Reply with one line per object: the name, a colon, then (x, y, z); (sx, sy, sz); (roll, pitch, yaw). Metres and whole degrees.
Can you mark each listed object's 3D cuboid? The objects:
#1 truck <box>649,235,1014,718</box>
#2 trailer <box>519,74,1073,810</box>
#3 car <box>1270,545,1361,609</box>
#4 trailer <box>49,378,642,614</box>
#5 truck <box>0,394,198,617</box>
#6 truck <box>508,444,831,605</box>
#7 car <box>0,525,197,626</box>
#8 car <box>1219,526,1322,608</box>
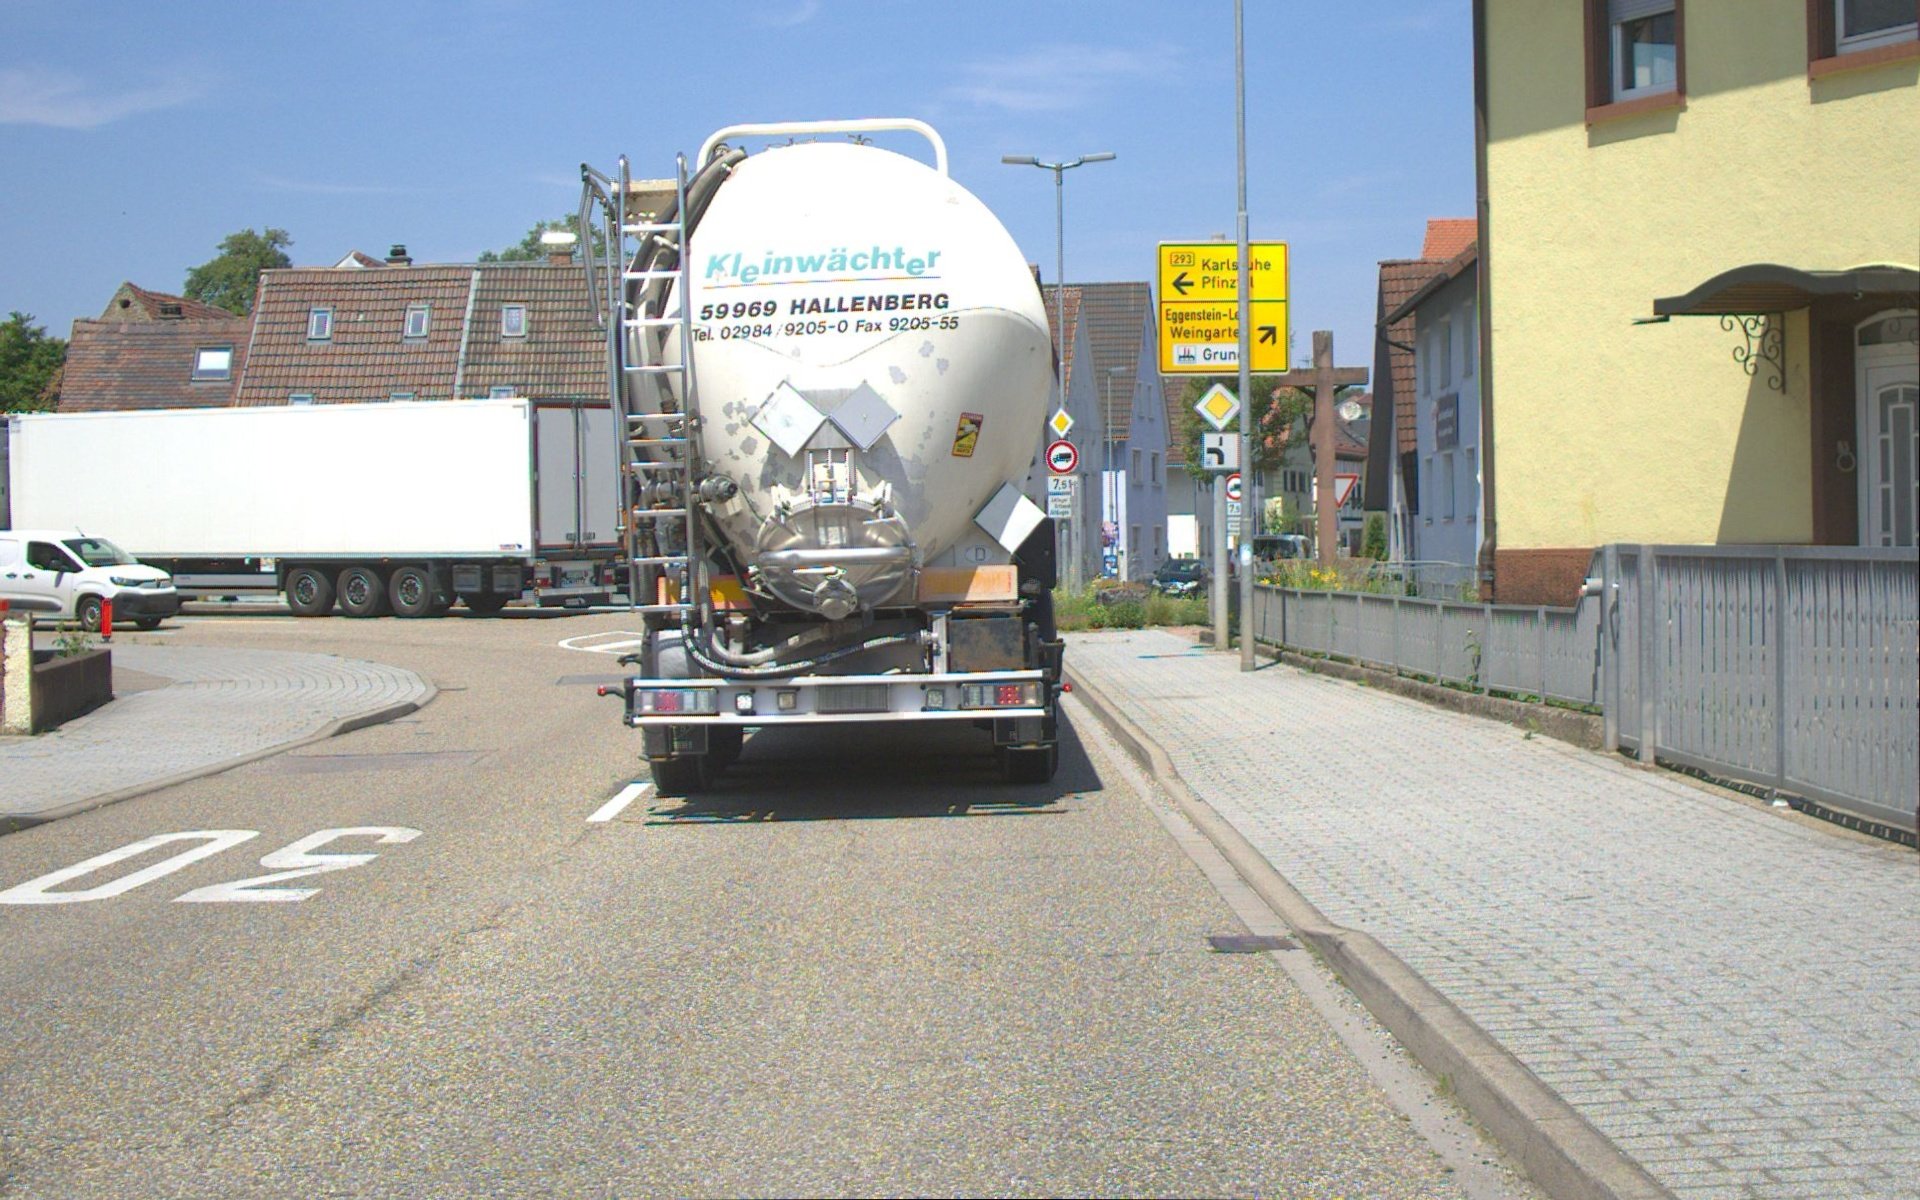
truck: (-1.041, -1.033, 30.956); (2.987, 3.951, 5.579); (0, 0, 0)
trailer: (-0.972, -0.884, 24.222); (2.952, 3.934, 11.619); (0, 0, -1)
car: (9.408, -0.626, 90.758); (1.818, 1.629, 4.205); (-1, 1, 14)
trailer: (-12.079, -1.876, 66.609); (12.477, 4.262, 3.136); (0, 0, 33)
truck: (-18.938, -1.862, 70.010); (5.920, 4.386, 3.112); (0, 0, 16)
truck: (-6.056, -1.510, 73.006); (2.666, 3.170, 7.447); (-1, -1, 35)
car: (-16.458, -0.474, 63.039); (4.512, 1.779, 1.878); (1, 2, 21)
car: (7.606, -0.778, 83.833); (1.994, 1.906, 4.322); (0, -1, 12)
